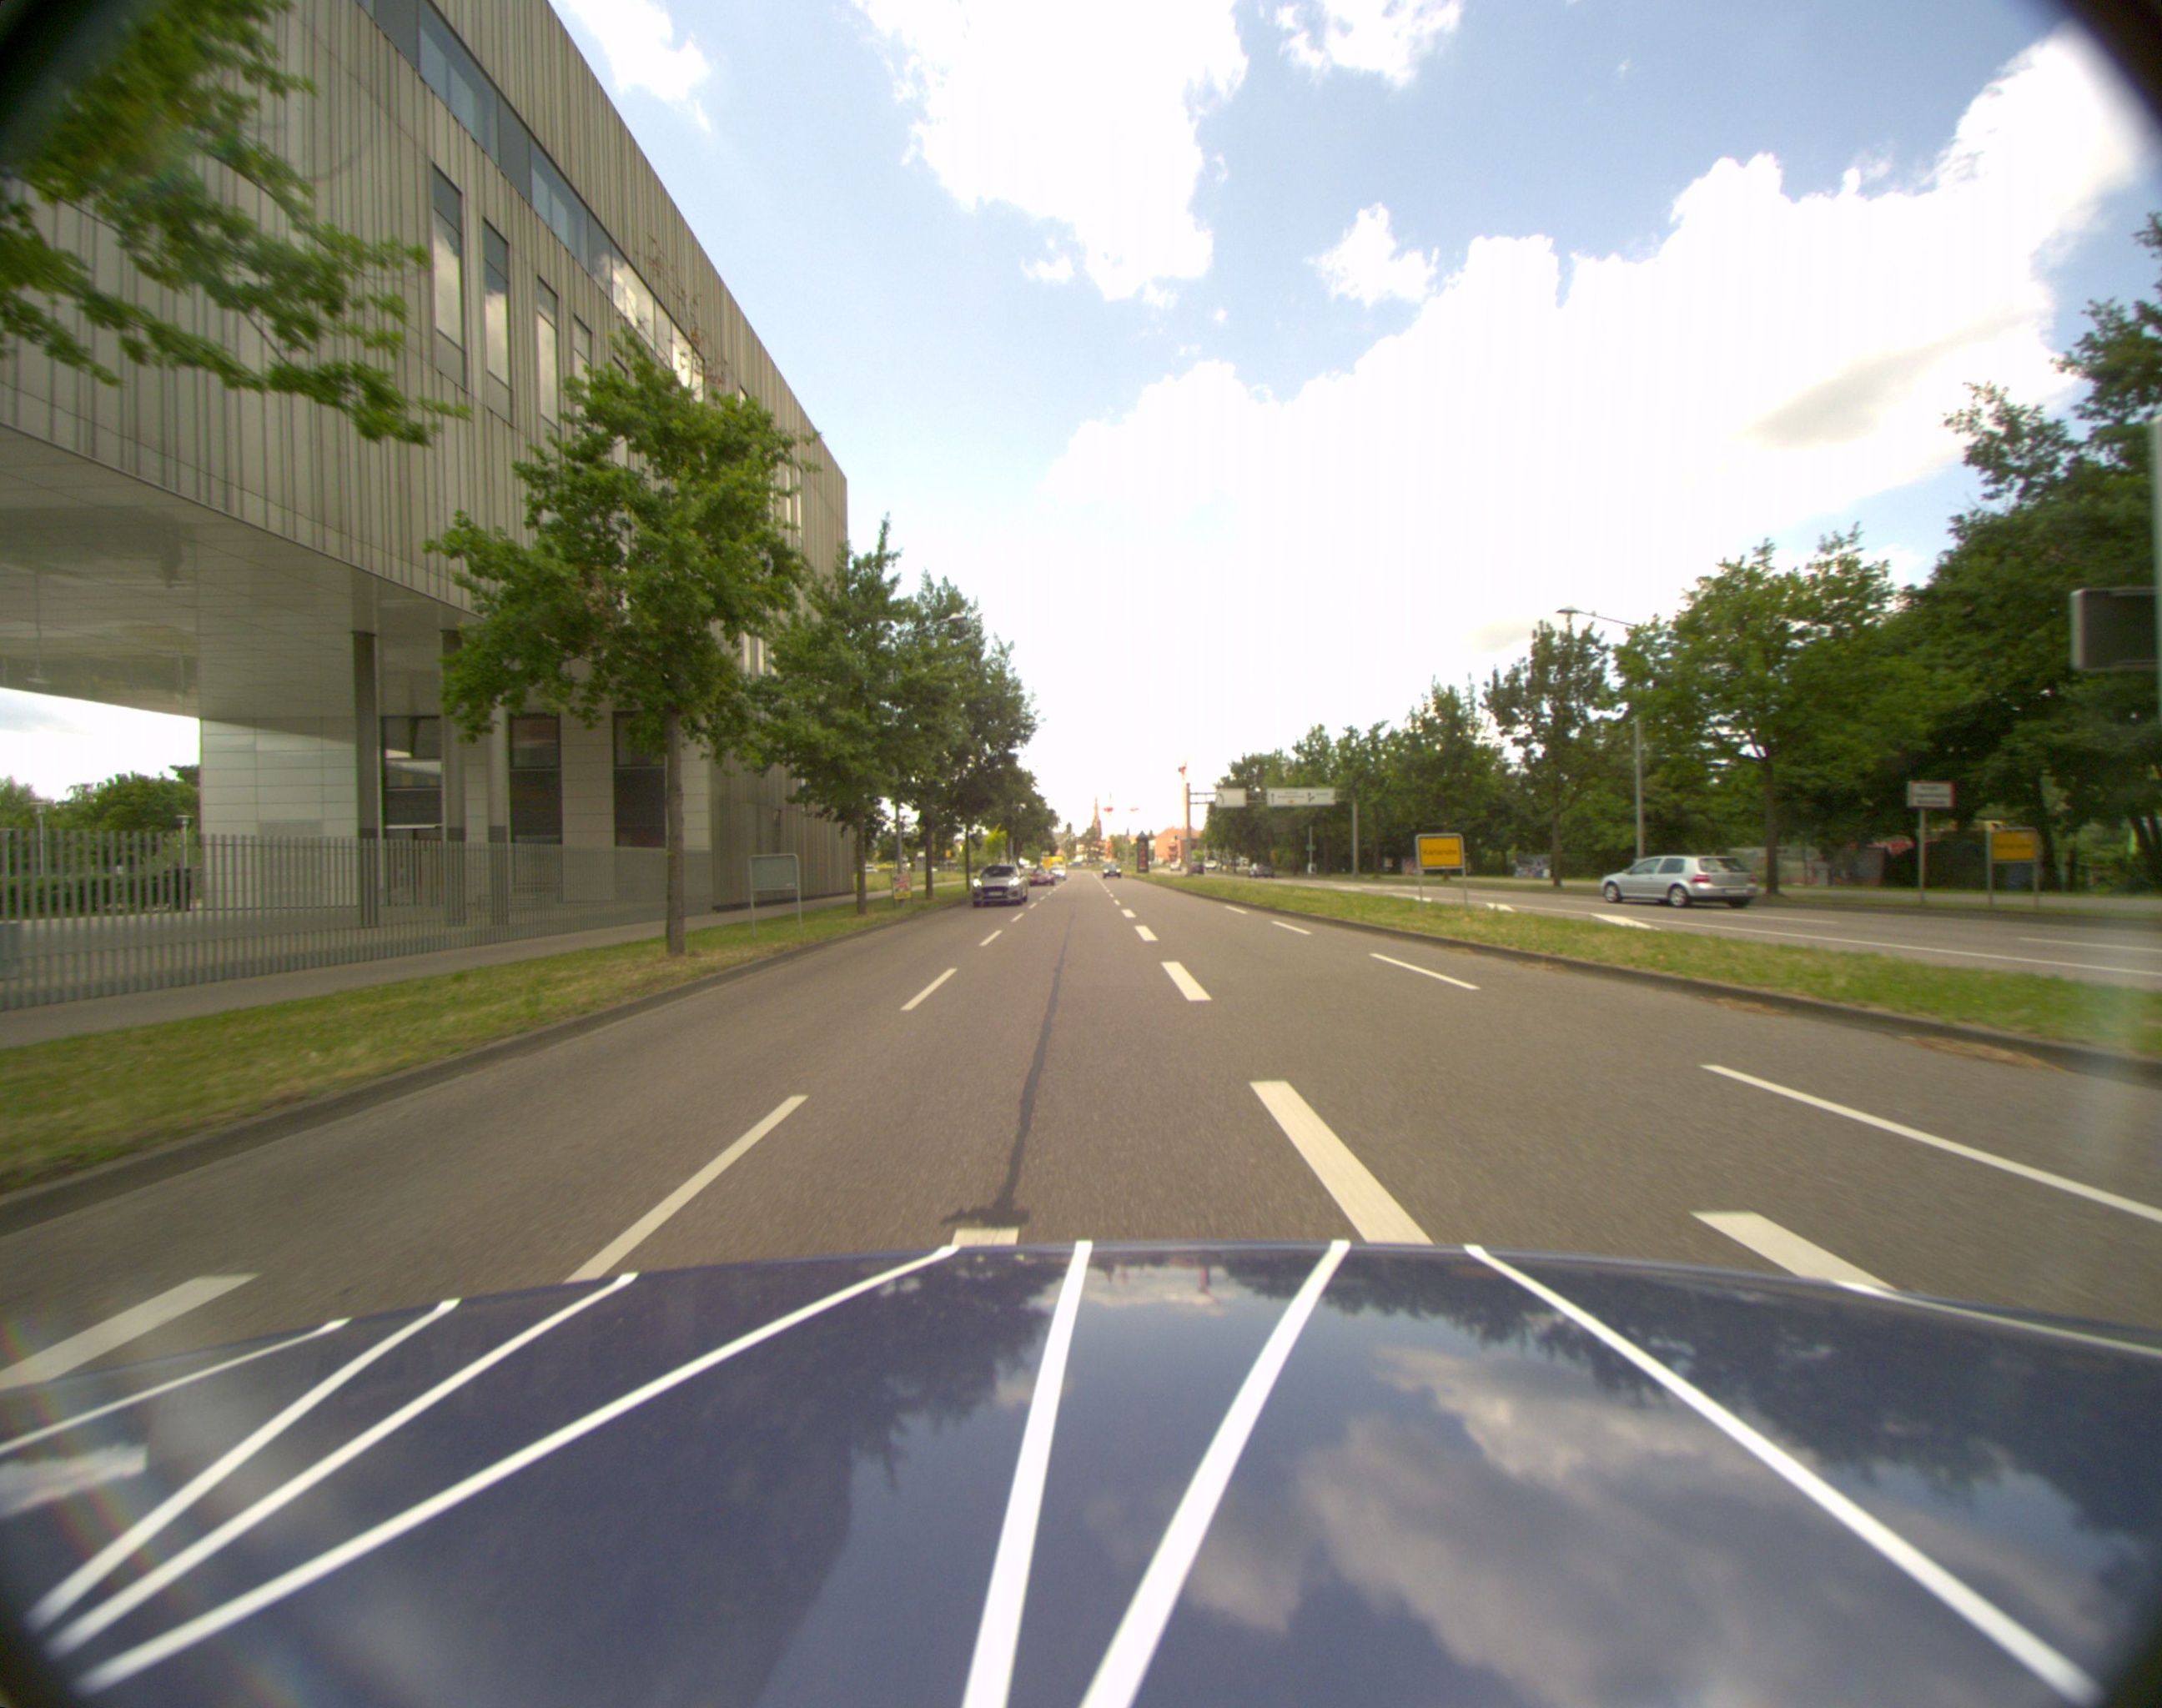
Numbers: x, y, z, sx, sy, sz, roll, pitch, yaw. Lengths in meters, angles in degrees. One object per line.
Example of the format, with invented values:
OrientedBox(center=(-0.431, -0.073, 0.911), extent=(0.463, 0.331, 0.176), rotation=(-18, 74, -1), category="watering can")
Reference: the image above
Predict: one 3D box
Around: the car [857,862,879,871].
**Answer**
OrientedBox(center=(-51.076, 3.009, 182.337), extent=(2.144, 2.135, 5.161), rotation=(-2, 0, 30), category="car")

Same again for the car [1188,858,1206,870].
OrientedBox(center=(14.706, 1.251, 96.193), extent=(1.745, 1.559, 4.276), rotation=(0, 0, 1), category="car")

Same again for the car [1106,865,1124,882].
OrientedBox(center=(3.504, 2.020, 79.614), extent=(1.774, 1.590, 4.127), rotation=(-2, 2, 2), category="car")

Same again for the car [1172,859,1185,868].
OrientedBox(center=(16.707, 1.632, 129.515), extent=(1.766, 1.431, 4.314), rotation=(0, 0, 13), category="car")

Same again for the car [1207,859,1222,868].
OrientedBox(center=(24.042, 1.692, 136.834), extent=(1.912, 1.531, 4.375), rotation=(0, 0, 20), category="car")

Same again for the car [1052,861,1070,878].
OrientedBox(center=(-2.063, 1.609, 80.622), extent=(1.674, 1.589, 4.127), rotation=(-3, 1, 1), category="car")

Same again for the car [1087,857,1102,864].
OrientedBox(center=(4.200, 2.030, 234.110), extent=(2.396, 2.184, 6.829), rotation=(-1, -1, -17), category="car")

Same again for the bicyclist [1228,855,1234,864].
OrientedBox(center=(24.774, 0.924, 125.411), extent=(0.832, 1.556, 0.883), rotation=(-3, 0, 0), category="bicyclist")

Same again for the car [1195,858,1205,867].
OrientedBox(center=(22.868, 1.616, 145.814), extent=(1.725, 1.581, 5.016), rotation=(0, 0, 8), category="car")

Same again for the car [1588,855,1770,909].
OrientedBox(center=(16.528, 0.726, 21.332), extent=(1.644, 1.321, 4.382), rotation=(-1, 0, 0), category="car")

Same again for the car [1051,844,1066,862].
OrientedBox(center=(-3.739, -0.136, 128.483), extent=(2.284, 2.836, 7.255), rotation=(-1, 0, 0), category="car")

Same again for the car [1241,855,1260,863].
OrientedBox(center=(36.582, 1.081, 164.116), extent=(1.838, 1.789, 4.798), rotation=(1, 0, 41), category="car")

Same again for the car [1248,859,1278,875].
OrientedBox(center=(17.420, 1.246, 72.910), extent=(1.746, 1.536, 4.573), rotation=(0, 0, 0), category="car")

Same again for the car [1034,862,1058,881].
OrientedBox(center=(-2.592, 1.262, 56.420), extent=(1.674, 1.254, 4.091), rotation=(-1, 0, -2), category="car")

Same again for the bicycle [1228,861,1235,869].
OrientedBox(center=(24.811, 1.781, 125.446), extent=(0.763, 1.212, 2.016), rotation=(-3, 0, 0), category="bicycle")

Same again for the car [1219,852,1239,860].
OrientedBox(center=(29.725, 0.382, 152.253), extent=(1.838, 1.471, 4.763), rotation=(-1, 0, 40), category="car")

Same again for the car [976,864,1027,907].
OrientedBox(center=(-2.986, 1.158, 29.237), extent=(1.674, 1.462, 4.091), rotation=(-1, 0, -3), category="car")
